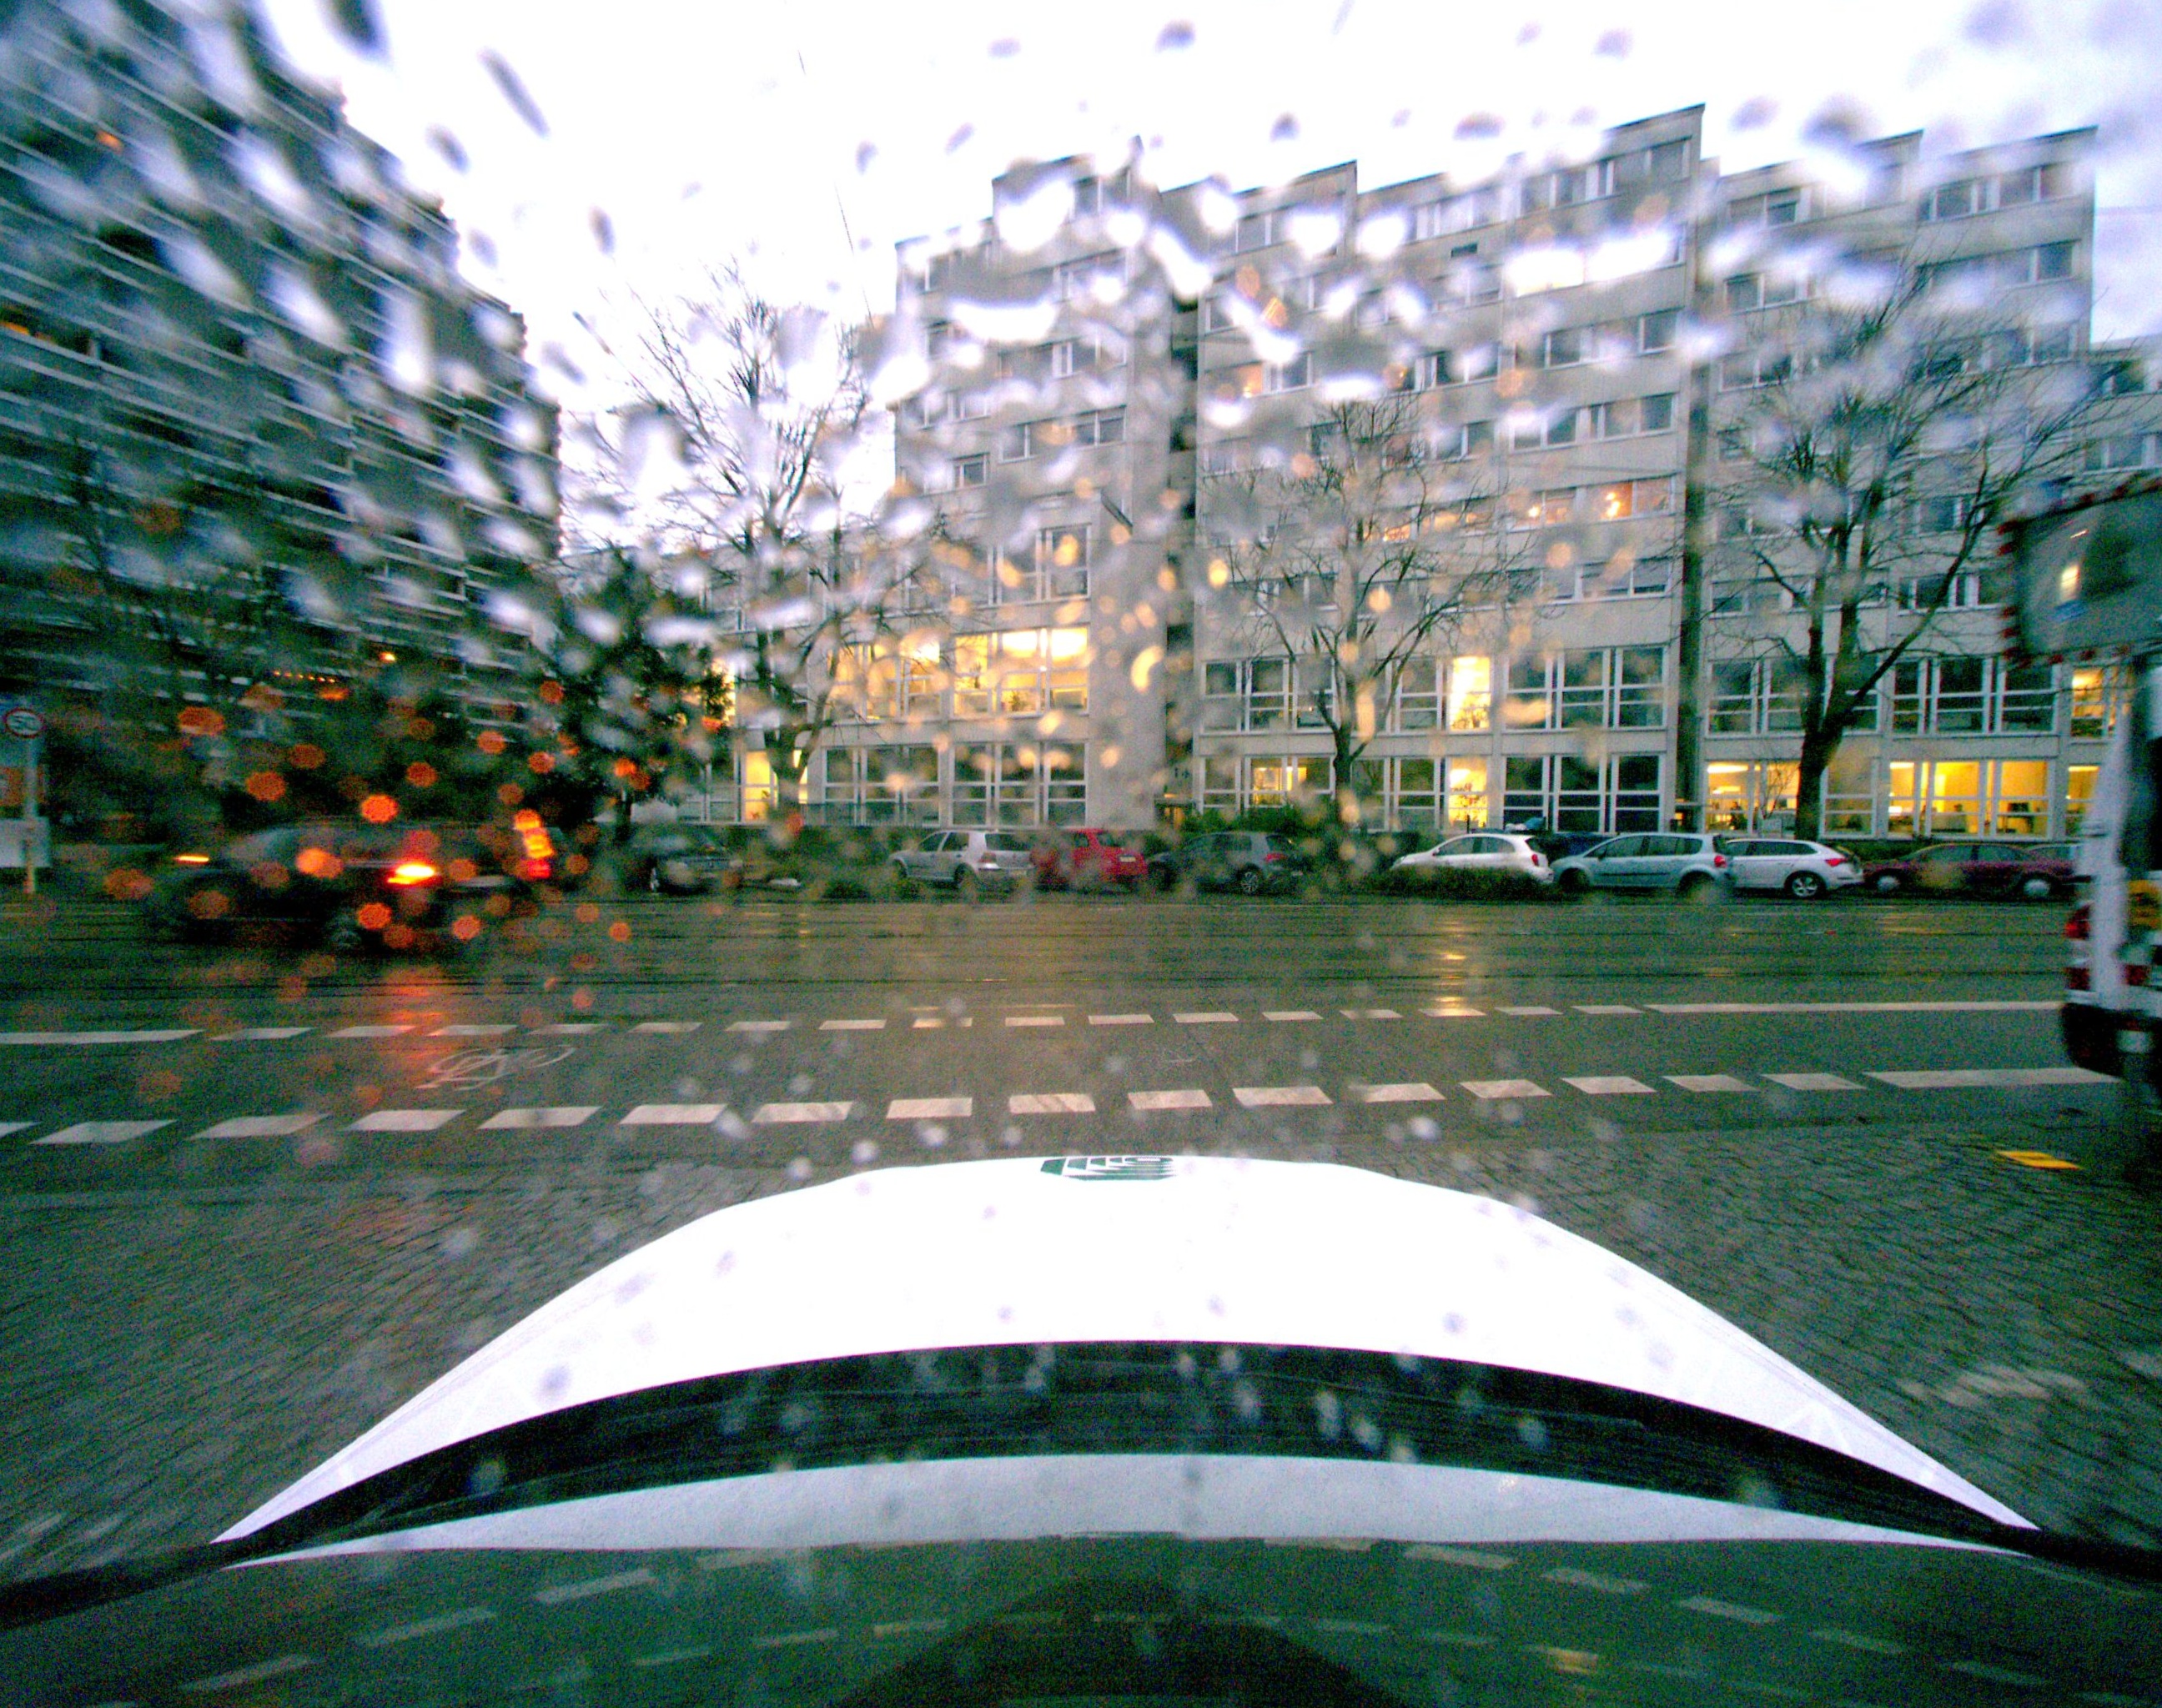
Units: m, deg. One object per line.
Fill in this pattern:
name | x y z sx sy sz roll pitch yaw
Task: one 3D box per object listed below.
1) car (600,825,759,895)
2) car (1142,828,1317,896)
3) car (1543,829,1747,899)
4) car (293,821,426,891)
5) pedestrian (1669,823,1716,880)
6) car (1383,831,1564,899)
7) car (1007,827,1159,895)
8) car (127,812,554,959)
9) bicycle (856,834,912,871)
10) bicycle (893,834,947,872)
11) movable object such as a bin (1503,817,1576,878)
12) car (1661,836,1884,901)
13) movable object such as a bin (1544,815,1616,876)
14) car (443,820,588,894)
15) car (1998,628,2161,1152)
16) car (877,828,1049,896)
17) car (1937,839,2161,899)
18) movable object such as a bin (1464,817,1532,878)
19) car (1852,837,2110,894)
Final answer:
car | -8.919 0.063 17.967 3.950 1.378 1.867 1 2 43
car | 3.511 0.125 19.569 3.805 1.492 1.706 1 2 42
car | 13.940 0.177 20.260 3.950 1.563 1.747 1 2 43
car | -16.234 -0.015 18.268 3.950 1.399 1.867 1 2 43
pedestrian | 18.263 -0.073 24.349 0.968 1.676 0.598 0 1 -5
car | 9.897 0.202 20.660 3.827 1.551 1.704 1 2 41
car | 0.005 0.109 19.632 3.408 1.492 1.740 1 2 43
car | -8.927 0.295 9.918 4.250 1.544 1.760 0 2 14
bicycle | -6.176 -0.076 25.713 0.635 1.120 2.216 0 2 18
bicycle | -4.997 -0.068 25.379 0.635 1.120 2.216 0 2 18
movable object such as a bin | 14.530 -0.228 25.851 1.386 1.859 1.573 -1 2 -4
car | 17.067 0.284 20.274 1.745 1.443 3.955 0 1 -38
movable object such as a bin | 15.873 -0.273 25.946 1.311 1.859 1.573 -1 2 -4
car | -12.665 0.001 18.142 3.950 1.462 1.867 1 2 43
car | 7.865 0.164 3.784 5.416 2.486 2.126 0 1 -8
car | -2.831 0.117 19.104 3.949 1.446 1.804 1 2 39
car | 26.199 0.340 22.116 1.745 1.463 3.954 0 1 -39
movable object such as a bin | 13.144 -0.220 25.729 1.311 1.859 1.573 -1 2 -4
car | 23.344 0.237 21.418 4.292 1.352 1.761 1 1 37
